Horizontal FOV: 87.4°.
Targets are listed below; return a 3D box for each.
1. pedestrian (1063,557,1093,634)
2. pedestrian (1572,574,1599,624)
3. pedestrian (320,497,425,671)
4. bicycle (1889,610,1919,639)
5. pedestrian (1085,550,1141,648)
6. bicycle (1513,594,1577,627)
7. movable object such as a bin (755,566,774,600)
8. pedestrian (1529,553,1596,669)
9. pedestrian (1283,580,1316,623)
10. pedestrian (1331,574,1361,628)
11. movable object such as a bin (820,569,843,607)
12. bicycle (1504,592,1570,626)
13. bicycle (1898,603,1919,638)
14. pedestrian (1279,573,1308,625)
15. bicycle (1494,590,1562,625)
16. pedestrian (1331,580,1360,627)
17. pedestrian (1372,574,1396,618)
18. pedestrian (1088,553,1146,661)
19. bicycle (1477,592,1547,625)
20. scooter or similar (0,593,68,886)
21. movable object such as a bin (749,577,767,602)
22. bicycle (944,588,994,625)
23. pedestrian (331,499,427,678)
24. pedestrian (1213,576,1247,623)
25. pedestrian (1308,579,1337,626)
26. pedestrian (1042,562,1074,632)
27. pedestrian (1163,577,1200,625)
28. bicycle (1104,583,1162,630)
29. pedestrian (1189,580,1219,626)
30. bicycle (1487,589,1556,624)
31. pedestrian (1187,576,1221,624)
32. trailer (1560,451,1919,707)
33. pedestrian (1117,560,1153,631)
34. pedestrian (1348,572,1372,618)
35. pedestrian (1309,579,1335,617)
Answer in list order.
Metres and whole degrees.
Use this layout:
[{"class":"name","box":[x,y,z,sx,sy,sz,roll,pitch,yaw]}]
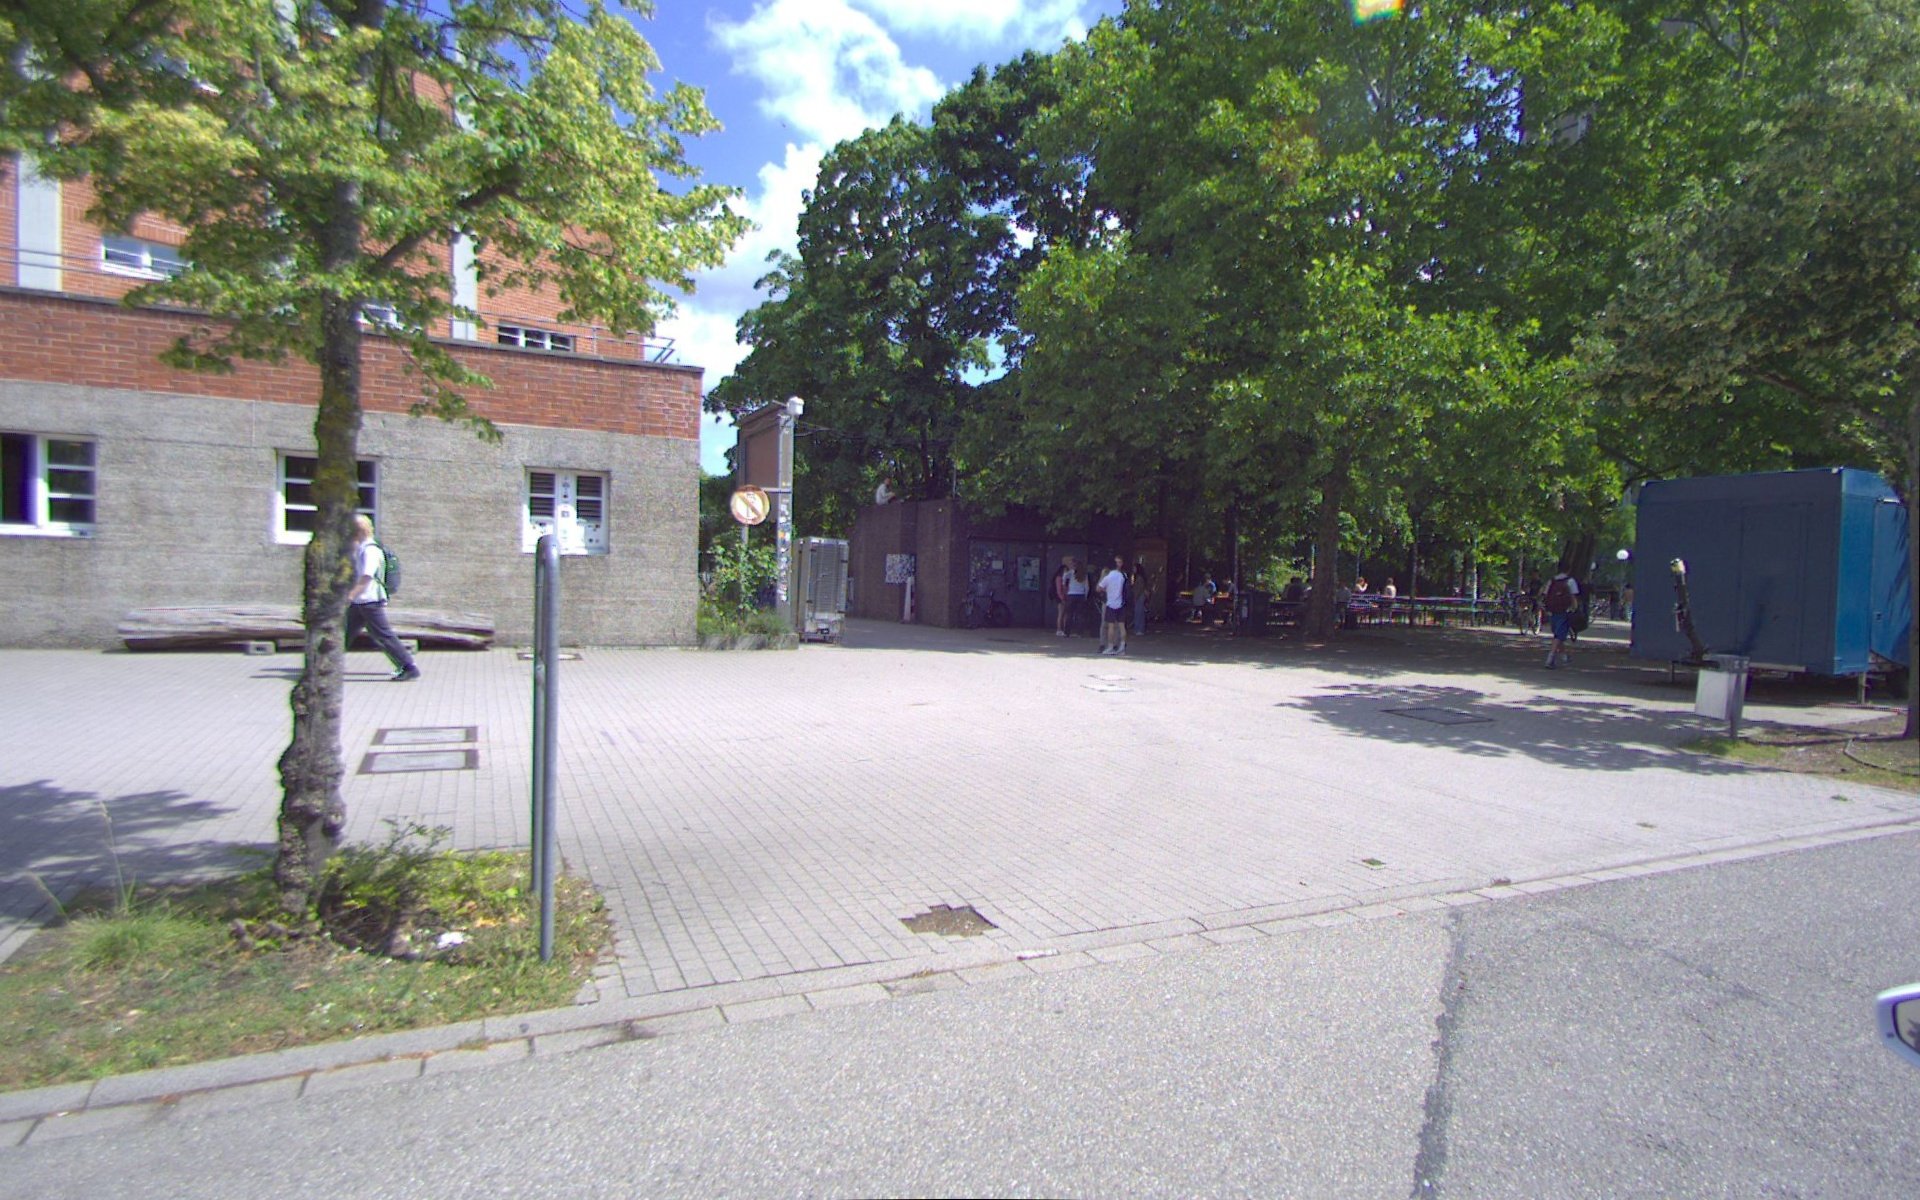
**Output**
[{"class":"pedestrian","box":[2.730,-0.107,23.307,0.520,1.734,0.448,4,4,20]},{"class":"pedestrian","box":[21.899,-0.037,35.153,0.622,1.693,0.727,5,4,40]},{"class":"pedestrian","box":[-6.349,-0.165,10.897,0.906,1.803,0.573,1,2,-27]},{"class":"bicycle","box":[36.312,0.952,37.140,2.680,1.016,0.882,3,3,22]},{"class":"pedestrian","box":[2.821,-0.019,18.576,0.863,1.743,0.489,4,1,2]},{"class":"bicycle","box":[21.958,0.369,37.739,0.579,1.134,1.995,1,2,-34]},{"class":"movable object such as a bin","box":[-7.130,-0.633,36.603,0.526,1.216,0.492,1,2,-28]},{"class":"pedestrian","box":[10.156,0.154,16.919,0.839,1.860,0.875,4,5,33]},{"class":"pedestrian","box":[10.295,0.036,30.487,0.760,1.267,0.564,0,3,-38]},{"class":"pedestrian","box":[10.329,0.005,26.855,0.584,1.388,0.741,4,4,29]},{"class":"movable object such as a bin","box":[-4.052,-0.372,31.705,0.515,1.158,0.589,1,2,-28]},{"class":"bicycle","box":[20.933,0.306,36.457,0.579,1.134,1.995,1,2,-34]},{"class":"bicycle","box":[35.780,0.813,36.093,2.852,1.237,0.882,3,3,22]},{"class":"pedestrian","box":[9.218,-0.030,27.766,0.584,1.388,0.702,4,4,30]},{"class":"bicycle","box":[19.913,0.248,35.249,0.579,1.134,1.995,1,2,-34]},{"class":"pedestrian","box":[10.583,0.087,27.580,0.584,1.250,0.741,4,4,29]},{"class":"pedestrian","box":[14.326,-0.136,33.911,0.456,1.442,0.502,0,3,-36]},{"class":"pedestrian","box":[2.783,0.121,17.823,0.863,1.844,0.449,4,1,2]},{"class":"bicycle","box":[18.640,0.286,33.946,0.579,1.021,1.995,1,2,-34]},{"class":"scooter or similar","box":[-4.543,0.548,4.020,1.327,1.164,0.563,2,2,-15]},{"class":"movable object such as a bin","box":[-7.618,-0.399,37.958,0.526,0.930,0.492,1,2,-28]},{"class":"bicycle","box":[0.231,0.170,25.195,1.215,0.895,0.303,2,2,-25]},{"class":"pedestrian","box":[-6.000,-0.115,10.411,0.795,1.785,0.561,1,2,-27]},{"class":"pedestrian","box":[7.730,-0.014,28.726,0.684,1.288,0.558,1,3,-26]},{"class":"pedestrian","box":[10.144,0.052,28.101,0.584,1.250,0.741,4,4,29]},{"class":"pedestrian","box":[2.339,-0.085,23.926,0.594,1.615,0.412,4,4,22]},{"class":"pedestrian","box":[6.435,0.026,29.203,0.768,1.341,0.685,1,2,-25]},{"class":"bicycle","box":[4.305,0.156,25.021,1.323,1.091,0.417,4,1,20]},{"class":"pedestrian","box":[7.243,0.077,29.803,0.551,1.341,0.643,1,2,-25]},{"class":"bicycle","box":[19.342,0.215,34.630,0.579,1.134,1.995,1,2,-34]},{"class":"pedestrian","box":[6.867,0.000,28.305,0.684,1.288,0.558,1,3,-26]},{"class":"trailer","box":[12.068,-0.252,14.629,6.185,3.067,2.686,1,3,-27]},{"class":"pedestrian","box":[4.273,-0.115,24.545,0.666,1.673,0.502,4,4,25]},{"class":"pedestrian","box":[13.797,-0.185,34.665,0.469,1.543,0.501,0,3,-37]},{"class":"pedestrian","box":[11.745,-0.072,32.609,0.723,1.210,0.388,1,3,-36]}]
